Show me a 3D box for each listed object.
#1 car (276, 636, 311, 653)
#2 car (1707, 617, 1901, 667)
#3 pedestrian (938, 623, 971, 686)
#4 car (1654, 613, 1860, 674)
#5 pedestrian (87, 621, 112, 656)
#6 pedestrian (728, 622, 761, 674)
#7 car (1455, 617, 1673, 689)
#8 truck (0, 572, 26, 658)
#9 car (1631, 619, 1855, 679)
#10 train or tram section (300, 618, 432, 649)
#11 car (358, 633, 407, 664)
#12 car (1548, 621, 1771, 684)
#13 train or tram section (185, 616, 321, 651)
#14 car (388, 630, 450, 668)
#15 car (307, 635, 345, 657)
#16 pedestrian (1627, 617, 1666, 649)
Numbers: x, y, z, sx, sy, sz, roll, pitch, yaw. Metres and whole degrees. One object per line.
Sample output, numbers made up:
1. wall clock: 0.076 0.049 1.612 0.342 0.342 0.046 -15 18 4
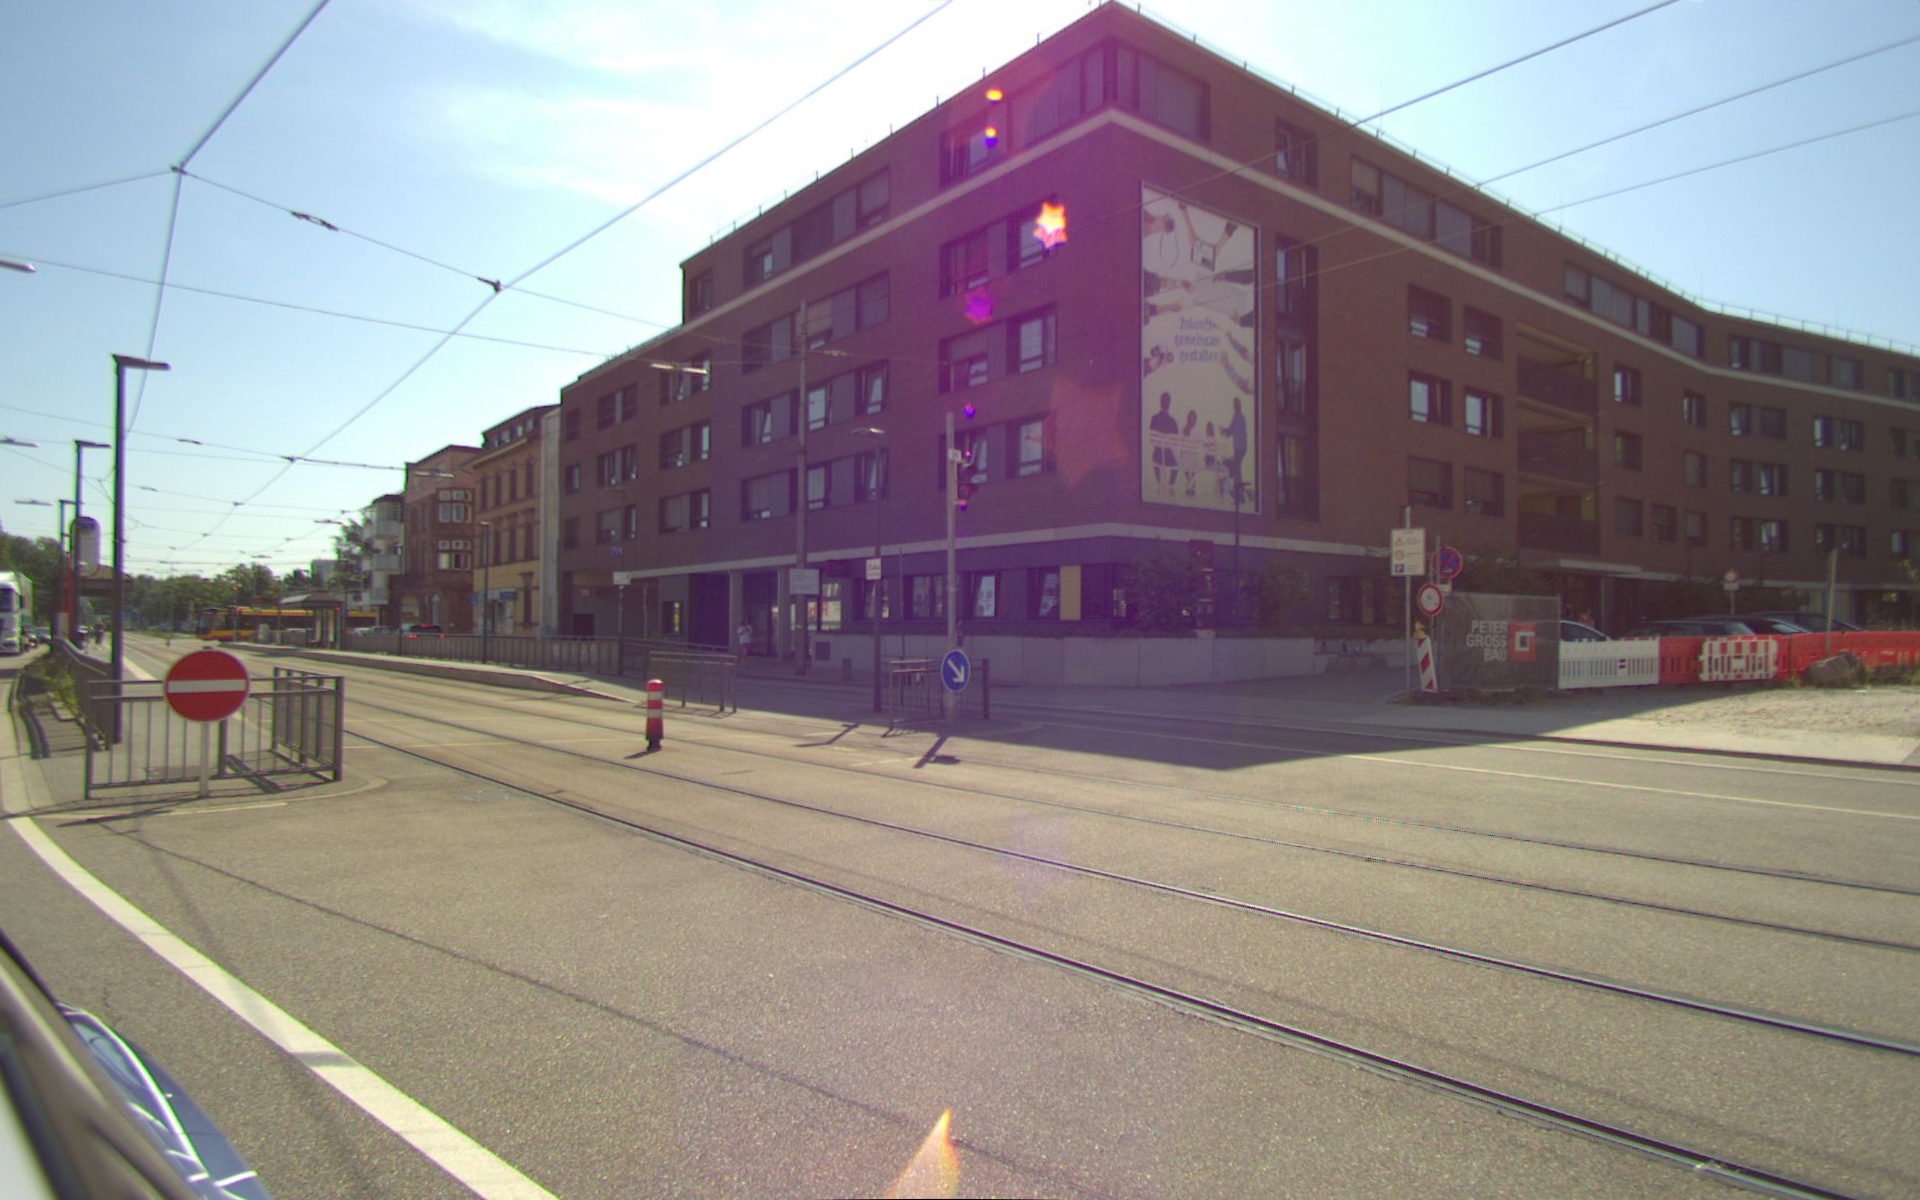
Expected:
1. car: -52.493 3.472 79.662 1.691 1.253 4.084 -1 -1 -42
2. car: 25.157 1.212 30.318 1.773 1.394 4.069 1 -1 -30
3. pedestrian: -0.160 1.454 27.292 0.574 1.677 0.700 2 -3 -43
4. car: 21.799 1.138 27.832 1.787 1.543 4.068 1 -1 -31
5. pedestrian: -46.355 2.088 54.543 0.969 1.873 1.239 2 -3 -41
6. pedestrian: -7.652 1.695 35.959 0.834 1.833 0.840 1 -3 -41
7. car: 13.631 1.169 22.955 3.936 1.434 1.805 -1 -1 -9
8. truck: -46.070 0.770 47.702 2.617 3.823 7.874 2 -3 -41
9. car: 19.595 1.172 25.547 1.836 1.376 4.070 0 -1 -22
10. train or tram section: -68.740 3.879 117.568 2.685 3.507 13.166 -2 -2 38
11. car: -32.159 2.662 56.298 1.691 1.635 3.584 0 -2 -41
12. car: 16.920 1.213 24.705 1.837 1.376 4.069 1 -1 -28
13. train or tram section: -73.850 3.510 106.315 2.662 3.507 13.280 -1 -2 13
14. car: -26.518 2.387 49.567 1.778 1.742 4.195 -1 -1 -41
15. car: -42.792 3.107 68.244 1.605 1.480 3.871 1 -3 -41
16. pedestrian: 28.526 1.382 42.081 1.104 1.310 1.018 1 -2 -37
